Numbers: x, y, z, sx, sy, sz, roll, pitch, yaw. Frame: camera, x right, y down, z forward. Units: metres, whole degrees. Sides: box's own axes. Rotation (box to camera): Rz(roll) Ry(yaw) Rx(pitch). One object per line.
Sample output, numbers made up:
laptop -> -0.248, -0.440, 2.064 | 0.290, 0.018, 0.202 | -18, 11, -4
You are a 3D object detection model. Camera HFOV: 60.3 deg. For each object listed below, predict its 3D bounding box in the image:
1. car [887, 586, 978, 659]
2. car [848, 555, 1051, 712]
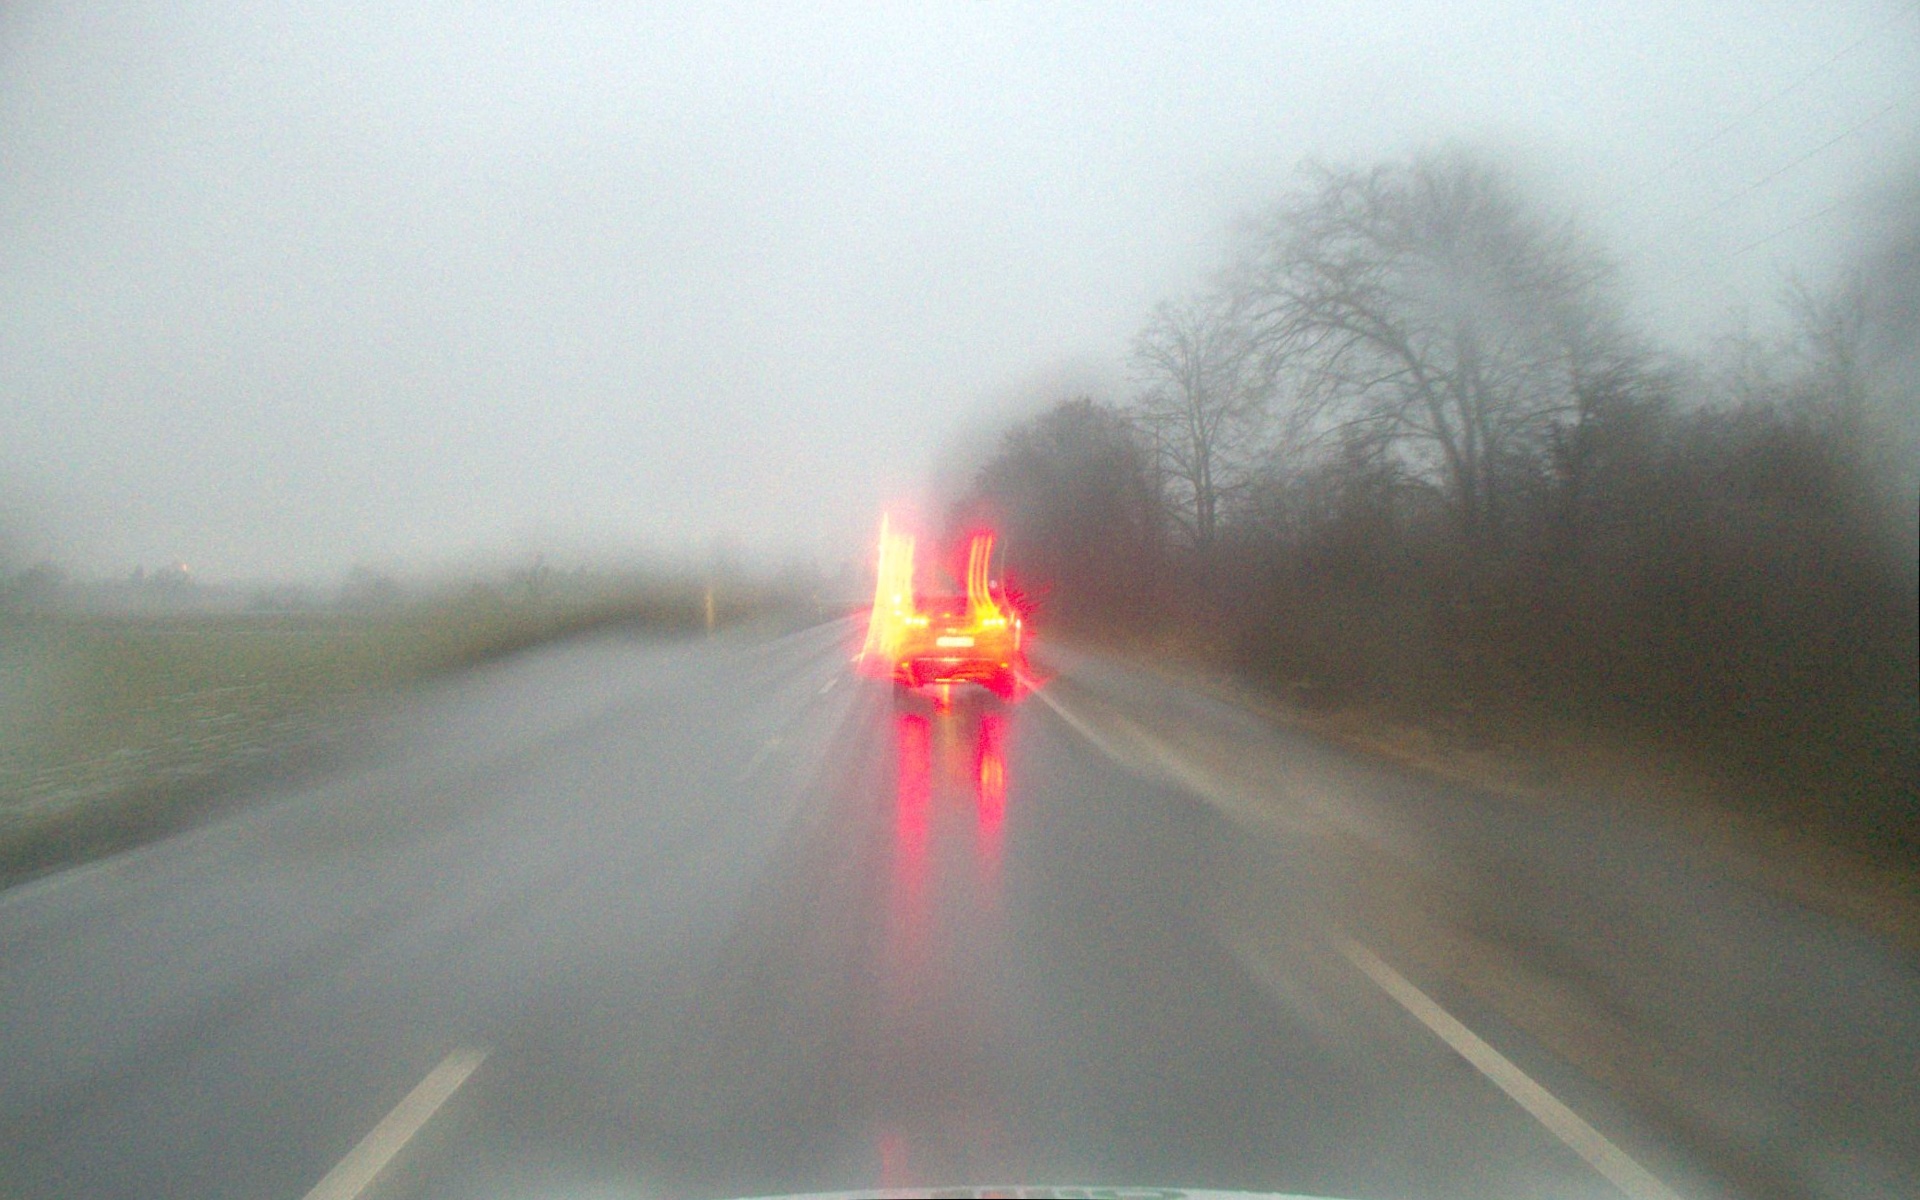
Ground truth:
car -> -0.831, 0.645, 50.123 | 2.539, 2.049, 5.803 | 1, 0, -1
car -> -0.188, 0.472, 25.753 | 2.763, 2.113, 5.803 | 1, 0, -1
